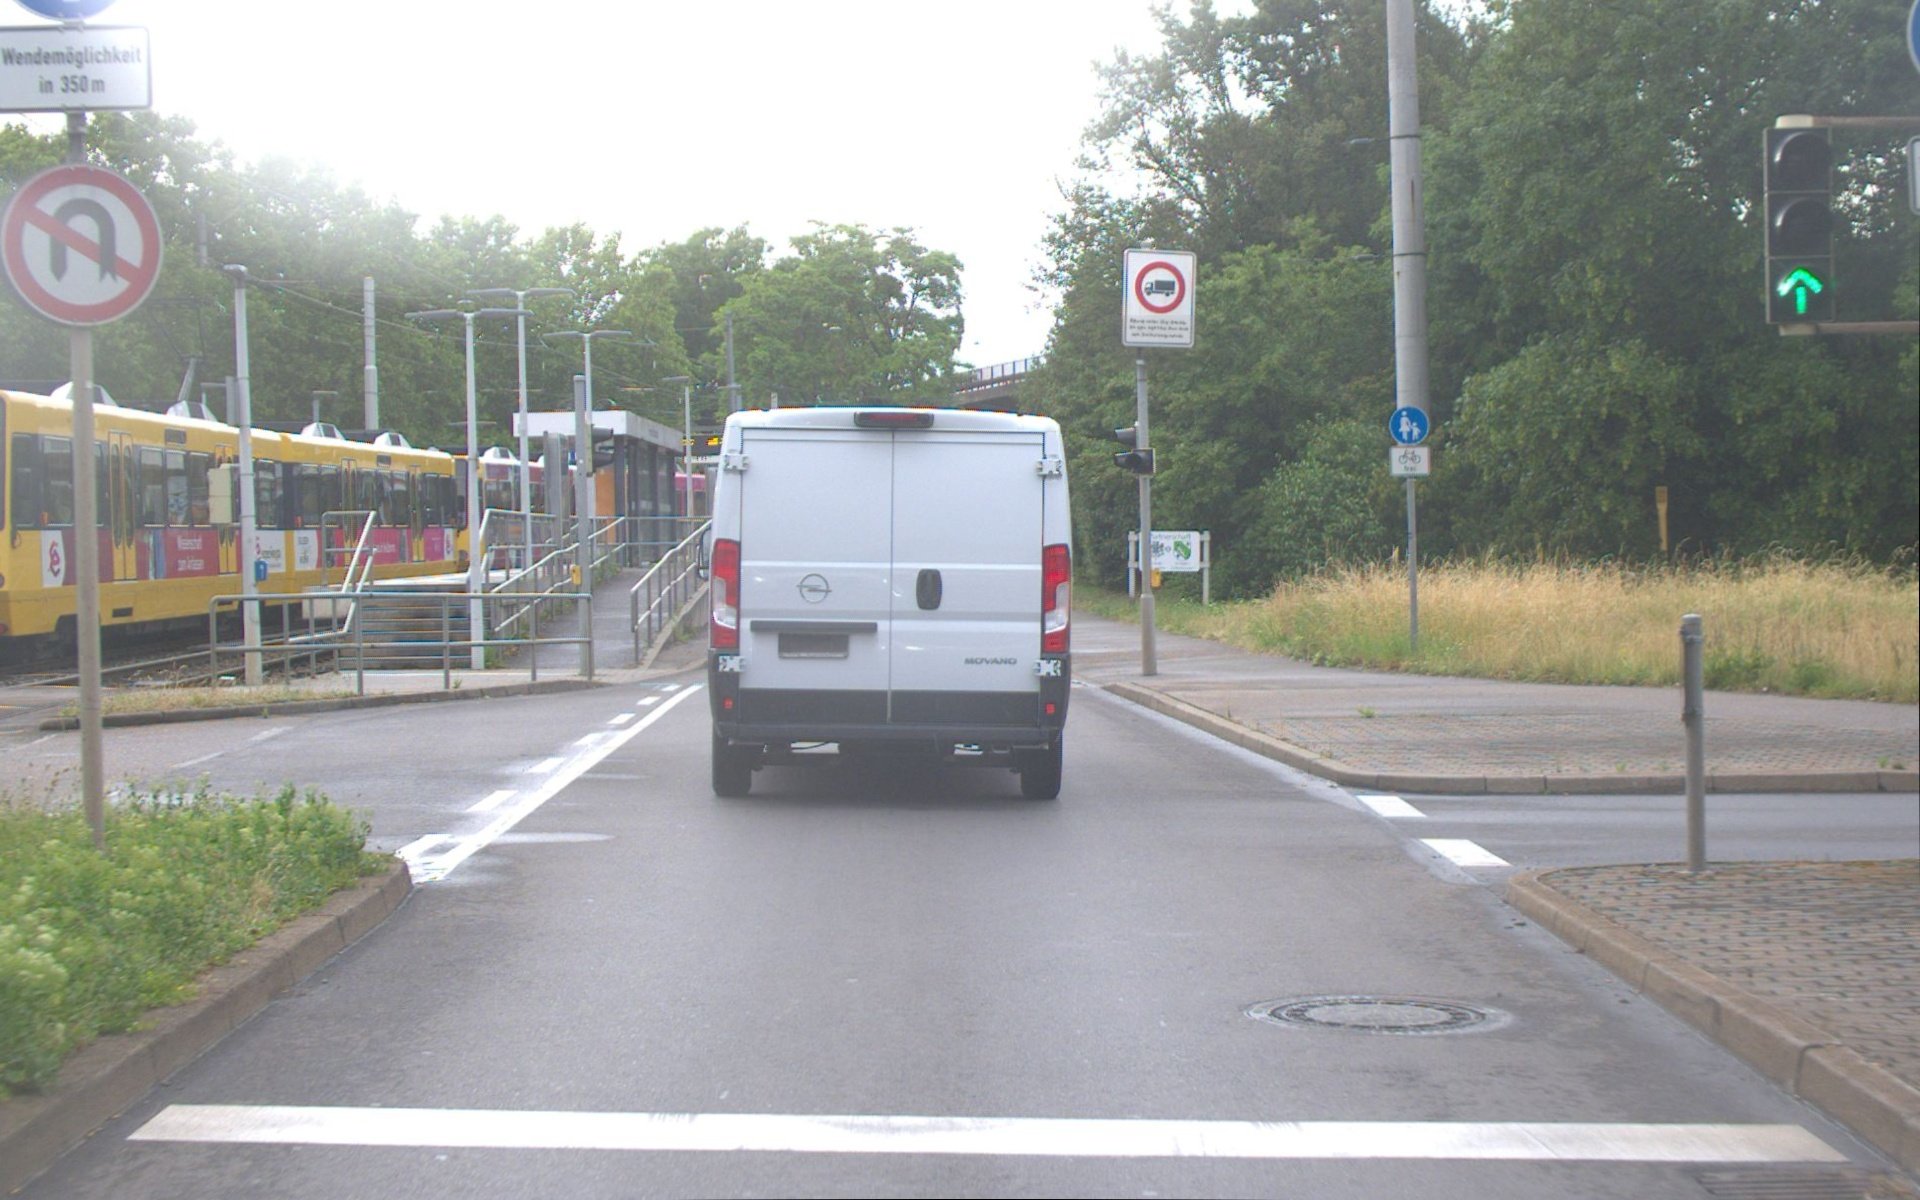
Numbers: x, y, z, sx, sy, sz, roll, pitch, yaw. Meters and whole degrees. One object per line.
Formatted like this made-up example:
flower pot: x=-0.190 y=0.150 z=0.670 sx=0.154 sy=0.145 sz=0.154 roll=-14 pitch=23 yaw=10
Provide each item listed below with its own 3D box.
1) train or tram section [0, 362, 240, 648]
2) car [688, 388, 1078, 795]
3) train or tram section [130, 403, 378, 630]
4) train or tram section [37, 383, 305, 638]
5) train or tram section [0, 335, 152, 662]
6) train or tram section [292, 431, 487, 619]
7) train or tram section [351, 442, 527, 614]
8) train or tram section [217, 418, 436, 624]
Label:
train or tram section: x=-12.911 y=-1.368 z=51.234 sx=2.928 sy=3.919 sz=7.006 roll=2 pitch=1 yaw=-1
car: x=-0.552 y=-0.099 z=21.327 sx=2.090 sy=2.189 sz=5.062 roll=1 pitch=1 yaw=-3
train or tram section: x=-13.025 y=-1.510 z=64.018 sx=2.928 sy=3.919 sz=7.005 roll=2 pitch=1 yaw=1
train or tram section: x=-13.054 y=-1.440 z=57.479 sx=2.928 sy=3.919 sz=7.006 roll=2 pitch=1 yaw=-1
train or tram section: x=-12.773 y=-1.294 z=44.723 sx=2.928 sy=3.919 sz=7.006 roll=2 pitch=1 yaw=-1
train or tram section: x=-12.663 y=-1.639 z=76.892 sx=2.928 sy=3.919 sz=7.005 roll=2 pitch=1 yaw=1
train or tram section: x=-12.509 y=-1.702 z=83.100 sx=2.928 sy=3.919 sz=7.005 roll=2 pitch=1 yaw=1
train or tram section: x=-12.828 y=-1.572 z=70.245 sx=2.928 sy=3.919 sz=7.005 roll=2 pitch=1 yaw=1
